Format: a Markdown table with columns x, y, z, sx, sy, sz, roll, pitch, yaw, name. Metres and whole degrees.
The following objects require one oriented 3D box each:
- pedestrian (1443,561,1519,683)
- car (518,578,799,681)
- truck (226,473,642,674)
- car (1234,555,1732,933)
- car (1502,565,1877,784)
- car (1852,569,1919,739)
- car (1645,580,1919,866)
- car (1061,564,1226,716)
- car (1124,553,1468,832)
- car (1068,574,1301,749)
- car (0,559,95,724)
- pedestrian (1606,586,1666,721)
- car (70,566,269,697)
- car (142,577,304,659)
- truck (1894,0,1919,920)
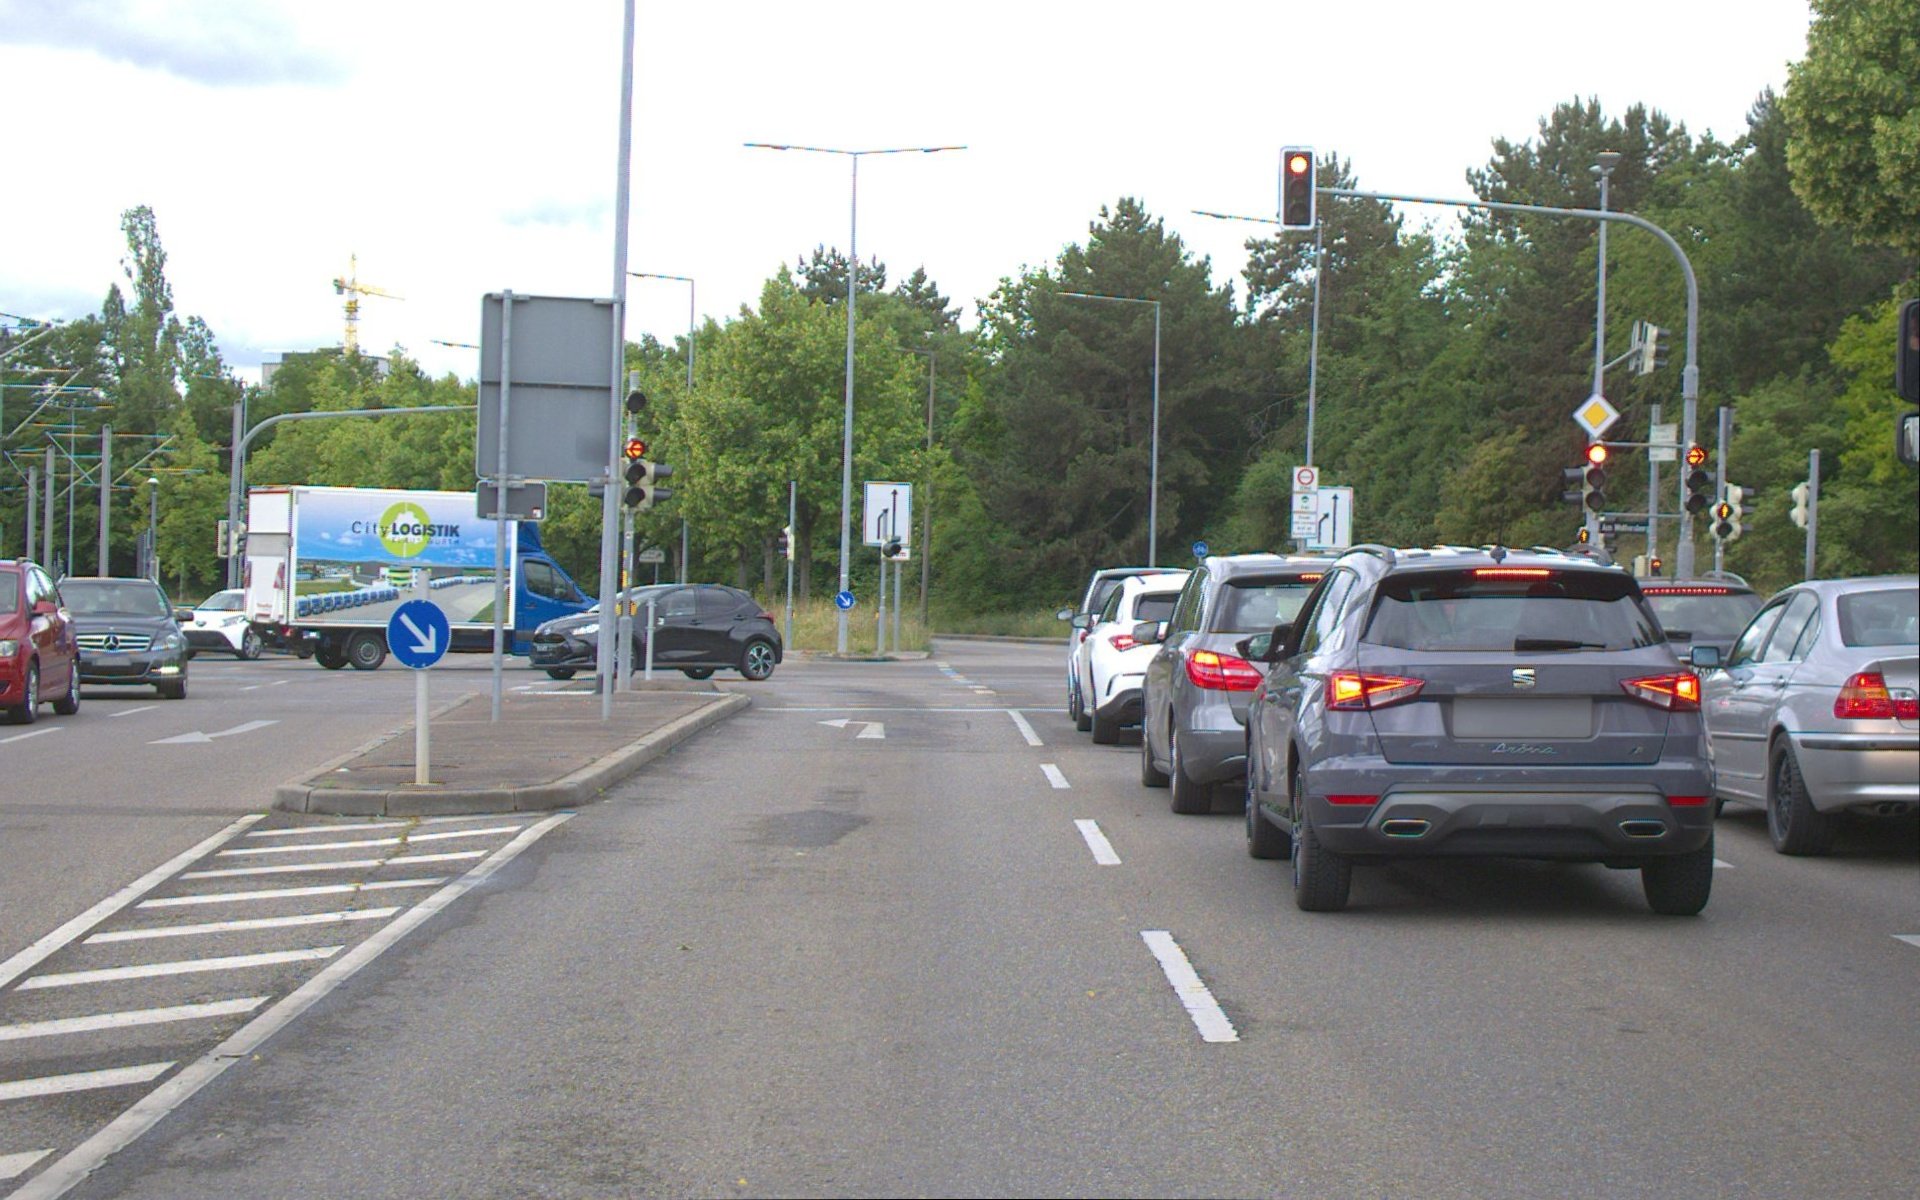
| x | y | z | sx | sy | sz | roll | pitch | yaw | name |
| --- | --- | --- | --- | --- | --- | --- | --- | --- | --- |
| 6.719 | 0.274 | 44.350 | 0.864 | 1.555 | 0.518 | 0 | 1 | -2 | pedestrian |
| -4.576 | 0.430 | 52.211 | 3.925 | 1.491 | 1.599 | 0 | 1 | -25 | car |
| -9.835 | -0.510 | 64.531 | 7.239 | 3.586 | 2.692 | 0 | 1 | -30 | truck |
| 2.216 | 0.544 | 15.539 | 1.698 | 1.481 | 4.000 | 0 | 1 | 1 | car |
| 5.143 | 0.488 | 24.777 | 1.825 | 1.430 | 4.213 | 0 | 0 | 0 | car |
| 10.272 | 0.540 | 35.344 | 1.704 | 1.632 | 4.239 | 2 | 1 | 20 | car |
| 5.014 | 0.577 | 18.415 | 1.812 | 1.349 | 4.118 | 0 | 0 | -1 | car |
| 1.858 | 0.391 | 35.374 | 1.535 | 1.499 | 2.670 | 0 | 0 | 0 | car |
| 1.963 | 0.483 | 21.161 | 1.799 | 1.518 | 4.187 | 0 | 1 | 2 | car |
| 1.891 | 0.491 | 30.117 | 1.721 | 1.417 | 4.357 | 0 | 0 | 0 | car |
| -9.585 | 0.352 | 33.265 | 1.702 | 1.483 | 4.087 | 0 | 1 | -5 | car |
| 7.346 | 0.574 | 37.359 | 0.611 | 1.448 | 0.353 | 1 | 0 | 9 | pedestrian |
| -9.416 | 0.338 | 41.240 | 1.690 | 1.434 | 4.546 | 0 | 1 | -5 | car |
| -15.683 | 0.354 | 73.348 | 1.777 | 1.502 | 3.744 | 1 | 3 | 17 | car |
| 5.078 | -0.533 | 11.890 | 2.571 | 3.693 | 4.106 | 0 | 1 | 1 | truck |
